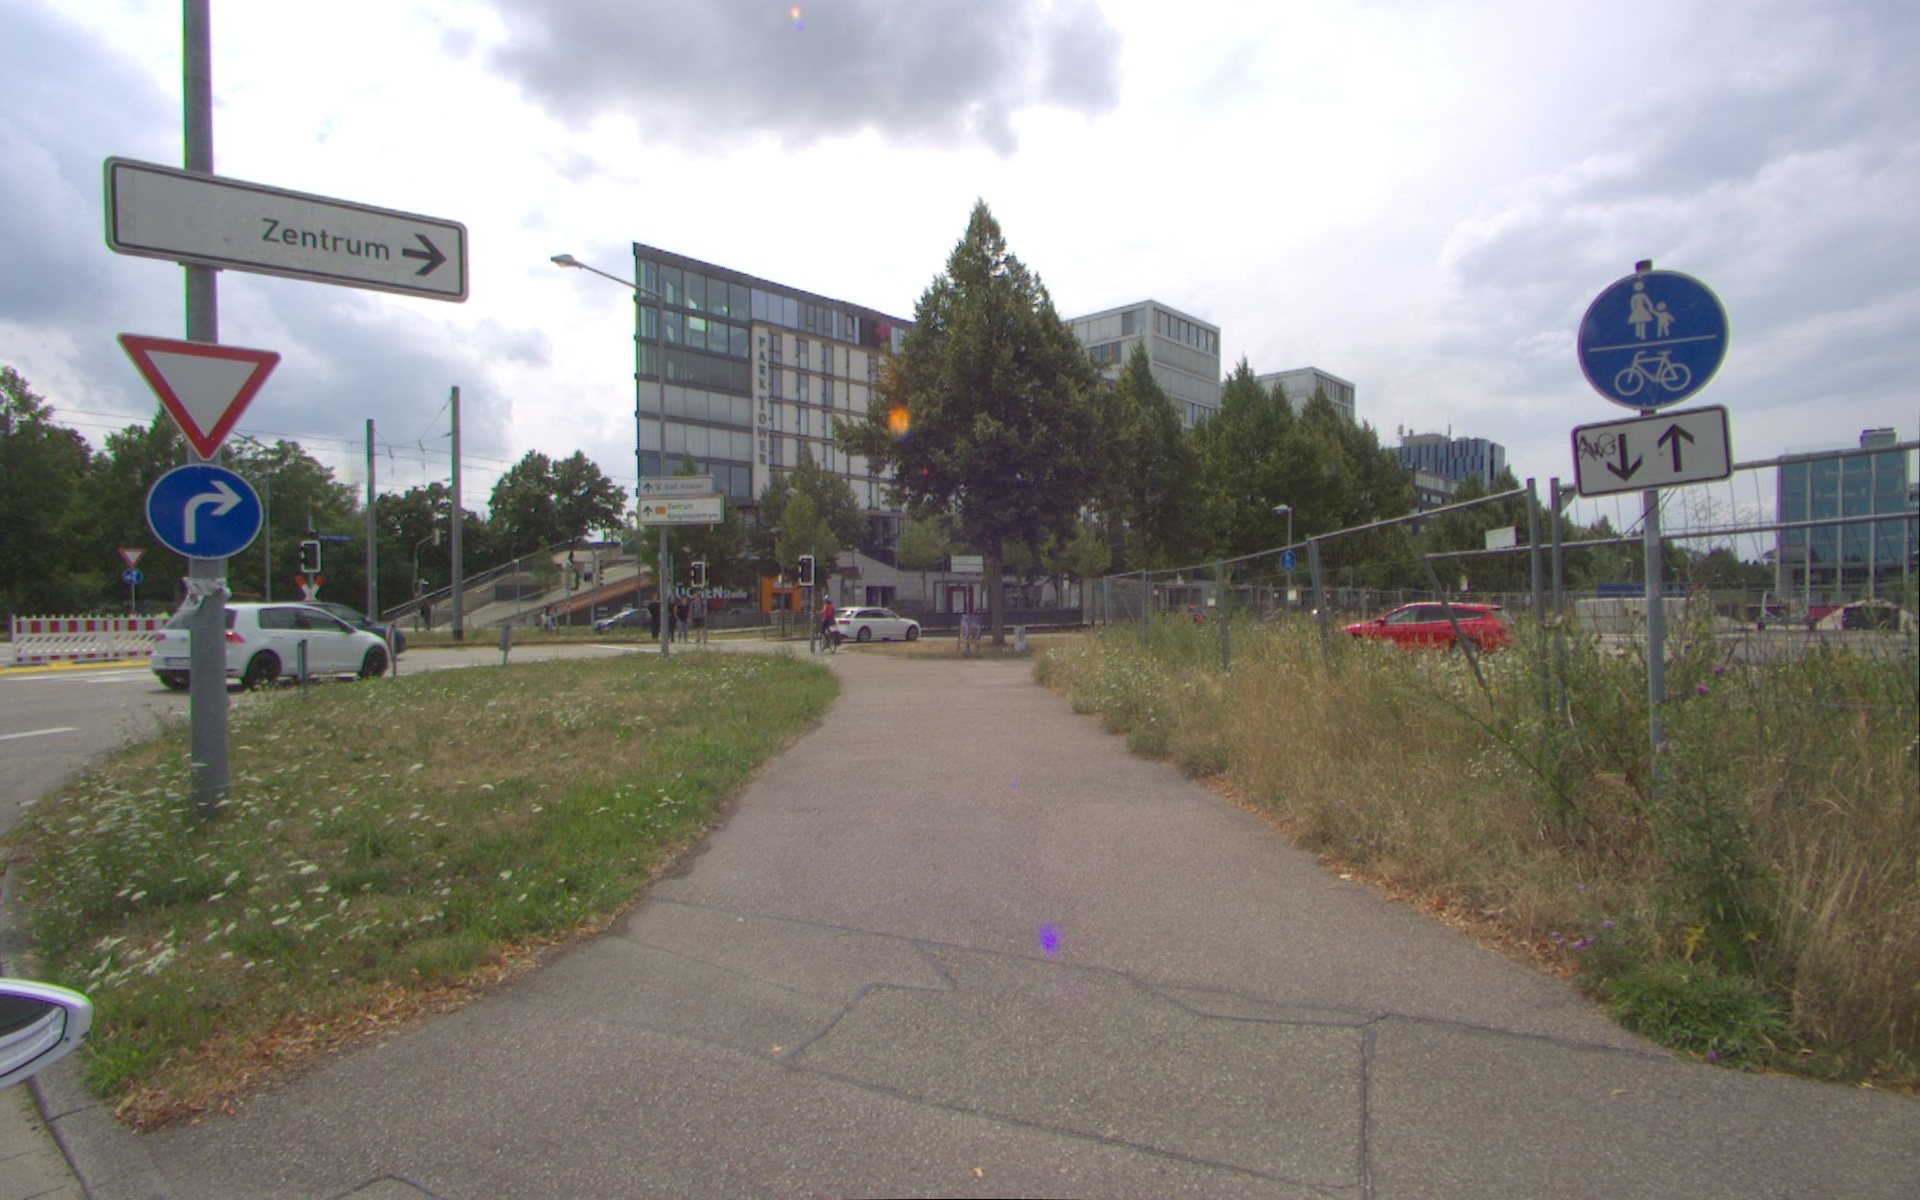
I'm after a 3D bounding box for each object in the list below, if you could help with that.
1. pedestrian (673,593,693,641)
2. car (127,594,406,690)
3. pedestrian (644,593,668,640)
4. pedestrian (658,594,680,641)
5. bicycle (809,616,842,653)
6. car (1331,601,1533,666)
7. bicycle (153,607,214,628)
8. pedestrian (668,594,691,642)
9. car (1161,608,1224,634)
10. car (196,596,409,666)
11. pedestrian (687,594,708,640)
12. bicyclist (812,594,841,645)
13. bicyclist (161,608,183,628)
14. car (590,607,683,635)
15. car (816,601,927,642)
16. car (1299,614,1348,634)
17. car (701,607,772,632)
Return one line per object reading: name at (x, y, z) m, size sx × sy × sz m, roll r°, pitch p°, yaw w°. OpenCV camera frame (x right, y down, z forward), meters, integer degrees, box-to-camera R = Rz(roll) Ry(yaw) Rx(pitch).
pedestrian at (-10.946, 0.665, 39.542) m, size 0.546 × 1.887 × 0.527 m, roll 1°, pitch 1°, yaw 38°
car at (-12.331, 0.680, 18.207) m, size 1.767 × 1.517 × 4.259 m, roll 0°, pitch 0°, yaw 7°
pedestrian at (-11.687, 0.635, 38.494) m, size 0.546 × 1.805 × 0.685 m, roll 1°, pitch 1°, yaw 38°
pedestrian at (-11.346, 0.684, 39.074) m, size 0.546 × 1.805 × 0.629 m, roll 1°, pitch 1°, yaw 38°
bicycle at (-4.543, 1.135, 33.708) m, size 0.778 × 1.183 × 2.037 m, roll 0°, pitch 0°, yaw -18°
car at (12.082, 0.814, 25.778) m, size 4.471 × 1.553 × 1.777 m, roll 0°, pitch 0°, yaw 37°
bicycle at (-36.542, 0.815, 47.138) m, size 2.167 × 0.950 × 0.613 m, roll 0°, pitch -1°, yaw -20°
pedestrian at (-10.853, 0.688, 38.745) m, size 0.546 × 1.805 × 0.685 m, roll 1°, pitch 1°, yaw 38°
car at (14.974, 1.311, 64.342) m, size 1.978 × 1.639 × 4.712 m, roll 0°, pitch 0°, yaw 42°
car at (-15.692, 0.687, 24.172) m, size 1.770 × 1.517 × 4.109 m, roll 0°, pitch 0°, yaw 19°
pedestrian at (-10.279, 0.662, 39.210) m, size 0.546 × 1.805 × 0.576 m, roll 1°, pitch 1°, yaw 38°
bicyclist at (-4.455, 0.643, 33.452) m, size 0.778 × 1.649 × 1.047 m, roll 0°, pitch 1°, yaw -18°
bicyclist at (-36.965, 0.840, 46.981) m, size 0.647 × 0.895 × 0.605 m, roll 0°, pitch -1°, yaw -20°
car at (-18.167, 1.150, 56.392) m, size 1.829 × 1.477 × 4.695 m, roll 1°, pitch 0°, yaw 44°
car at (-3.760, 0.891, 43.143) m, size 1.978 × 1.639 × 4.712 m, roll 0°, pitch 0°, yaw 42°
car at (26.197, 1.721, 72.153) m, size 1.978 × 1.392 × 3.965 m, roll 0°, pitch 0°, yaw 43°
car at (-13.763, 1.214, 61.790) m, size 1.830 × 1.477 × 3.963 m, roll 1°, pitch 0°, yaw 45°
